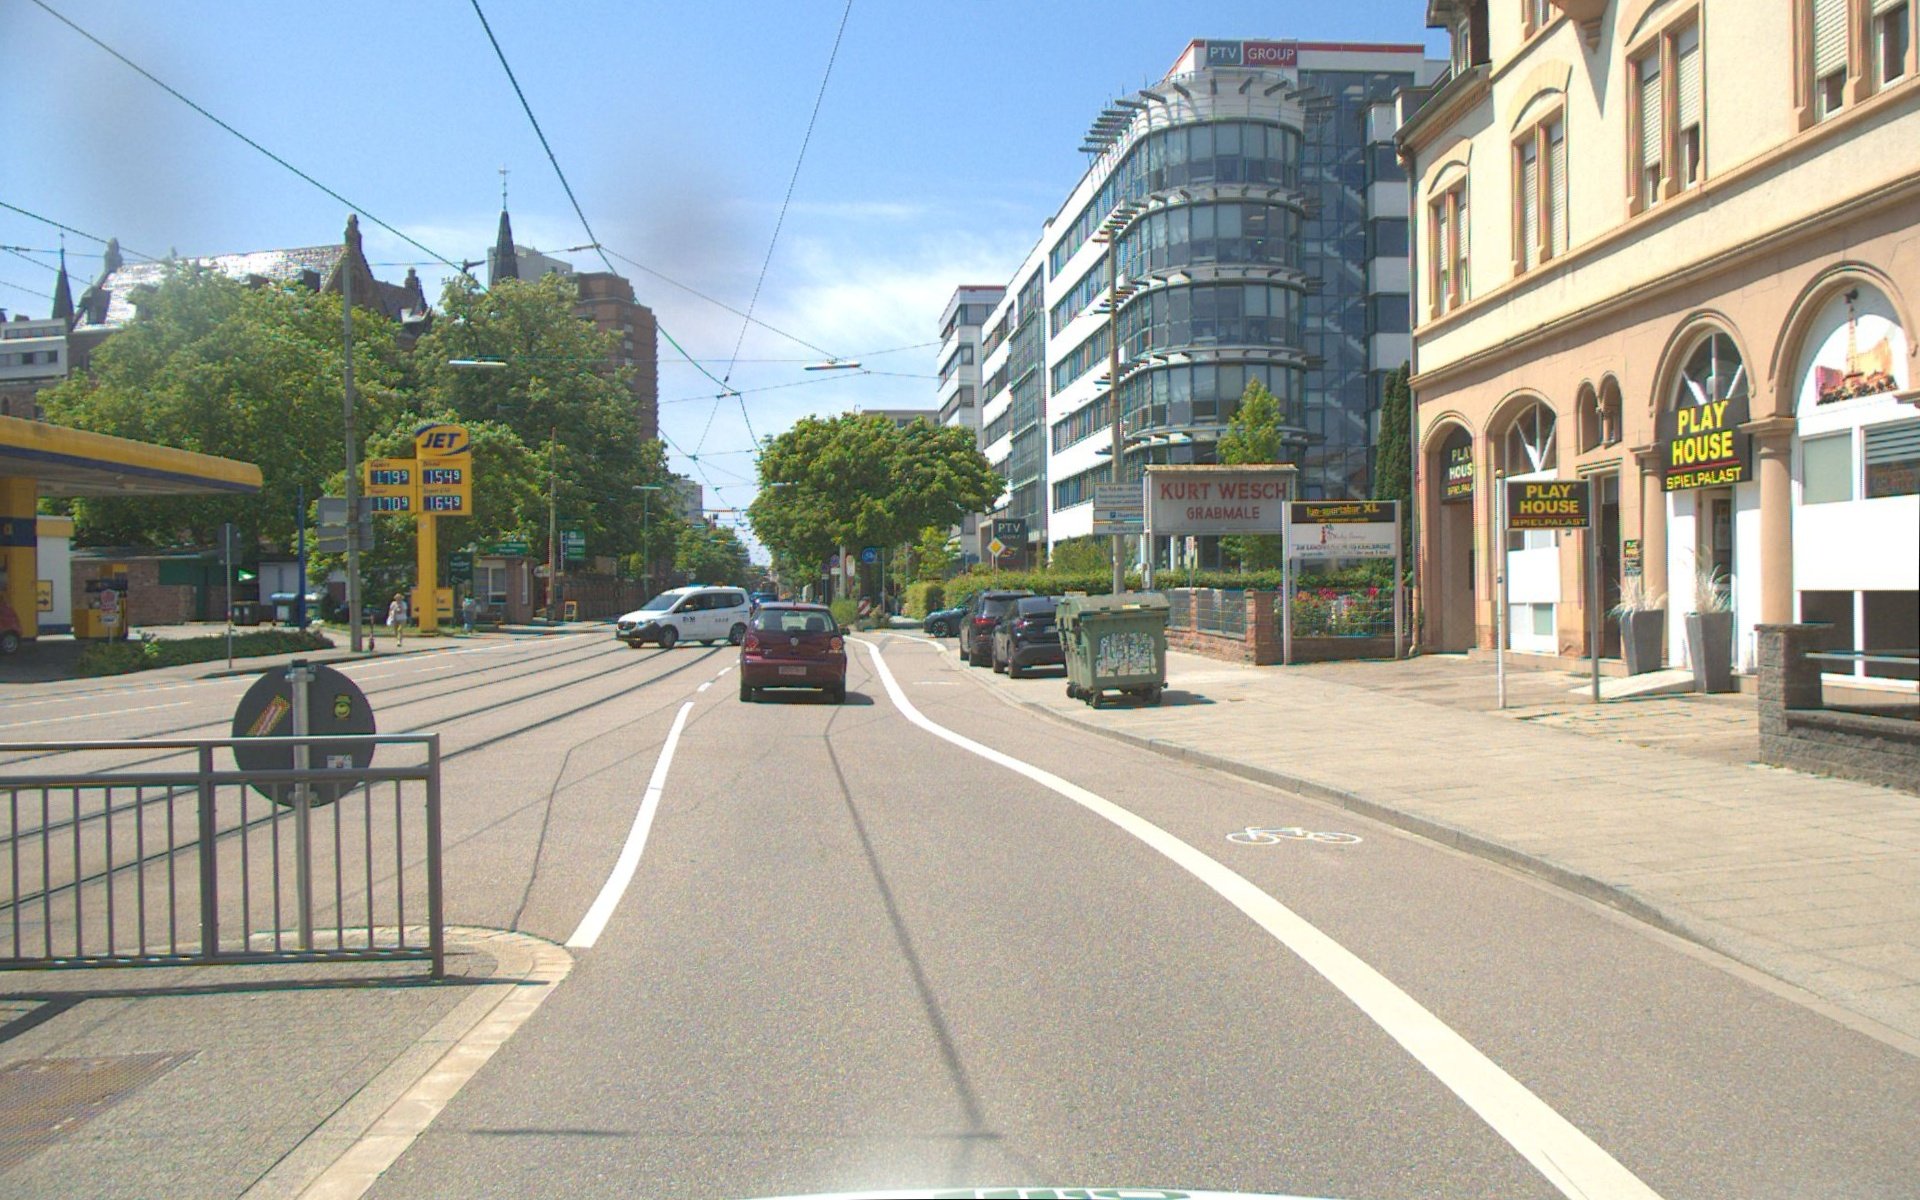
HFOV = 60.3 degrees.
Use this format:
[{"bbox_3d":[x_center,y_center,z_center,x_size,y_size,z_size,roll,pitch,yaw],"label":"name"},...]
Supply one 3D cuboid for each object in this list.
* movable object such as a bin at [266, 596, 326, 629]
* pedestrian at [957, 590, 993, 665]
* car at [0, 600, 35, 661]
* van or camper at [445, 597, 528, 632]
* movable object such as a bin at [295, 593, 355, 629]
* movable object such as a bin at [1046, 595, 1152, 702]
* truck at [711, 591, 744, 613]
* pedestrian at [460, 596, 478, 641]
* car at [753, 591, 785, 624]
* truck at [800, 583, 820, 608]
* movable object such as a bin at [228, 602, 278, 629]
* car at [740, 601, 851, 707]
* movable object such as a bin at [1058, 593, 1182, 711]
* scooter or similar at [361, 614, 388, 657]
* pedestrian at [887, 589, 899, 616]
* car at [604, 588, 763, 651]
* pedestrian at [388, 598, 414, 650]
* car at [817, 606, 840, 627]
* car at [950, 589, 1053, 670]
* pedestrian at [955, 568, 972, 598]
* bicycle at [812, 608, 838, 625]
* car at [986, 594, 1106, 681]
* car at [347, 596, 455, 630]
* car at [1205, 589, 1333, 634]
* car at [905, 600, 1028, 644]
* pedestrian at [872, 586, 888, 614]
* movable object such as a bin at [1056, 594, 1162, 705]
[{"bbox_3d":[-29.839,0.567,74.357,1.489,1.457,2.100,1,0,18],"label":"movable object such as a bin"},{"bbox_3d":[0.405,0.725,44.644,0.769,1.994,0.586,-1,0,-21],"label":"pedestrian"},{"bbox_3d":[-26.029,0.828,42.184,1.787,1.531,4.202,1,2,17],"label":"car"},{"bbox_3d":[-23.858,0.737,83.404,3.711,1.657,1.869,1,1,-6],"label":"van or camper"},{"bbox_3d":[-28.345,0.481,73.846,1.489,1.536,2.100,1,0,18],"label":"movable object such as a bin"},{"bbox_3d":[2.047,0.698,24.547,1.299,1.480,1.055,-3,0,-10],"label":"movable object such as a bin"},{"bbox_3d":[-31.275,0.256,222.373,2.319,2.836,7.326,-1,0,9],"label":"truck"},{"bbox_3d":[-19.721,0.728,66.442,0.569,1.807,0.698,1,0,-10],"label":"pedestrian"},{"bbox_3d":[-12.311,0.490,106.565,1.956,2.049,3.993,1,0,-8],"label":"car"},{"bbox_3d":[-16.213,-0.469,178.567,1.955,2.708,4.868,1,0,-6],"label":"truck"},{"bbox_3d":[-31.831,0.693,74.517,1.375,1.157,1.565,1,0,18],"label":"movable object such as a bin"},{"bbox_3d":[-2.626,0.788,25.991,1.588,1.512,3.994,1,0,-7],"label":"car"},{"bbox_3d":[2.152,0.685,22.365,1.366,1.480,1.137,-3,0,-10],"label":"movable object such as a bin"},{"bbox_3d":[-17.327,1.048,48.969,0.509,1.221,1.374,1,0,-9],"label":"scooter or similar"},{"bbox_3d":[-4.385,0.159,108.284,0.533,1.745,0.558,-2,-1,-35],"label":"pedestrian"},{"bbox_3d":[-8.432,0.558,50.668,4.517,1.831,1.968,-1,0,-44],"label":"car"},{"bbox_3d":[-18.520,0.786,54.806,0.612,1.720,0.722,-1,0,-3],"label":"pedestrian"},{"bbox_3d":[-10.283,1.303,129.525,1.656,1.529,3.622,-2,0,-6],"label":"car"},{"bbox_3d":[0.913,0.661,39.807,1.887,1.722,5.077,-2,0,-5],"label":"car"},{"bbox_3d":[0.229,-0.993,97.104,0.855,1.745,1.090,-2,-1,3],"label":"pedestrian"},{"bbox_3d":[-9.593,1.177,117.458,1.847,1.203,0.693,-1,-1,-7],"label":"bicycle"},{"bbox_3d":[1.669,0.732,33.689,1.738,1.575,4.462,-3,0,-6],"label":"car"},{"bbox_3d":[-25.266,0.580,74.869,1.895,1.514,4.438,1,0,33],"label":"car"},{"bbox_3d":[10.782,0.394,57.901,4.065,1.485,1.817,-1,0,-3],"label":"car"},{"bbox_3d":[0.238,0.745,56.234,3.832,1.396,1.704,-1,-1,18],"label":"car"},{"bbox_3d":[-5.208,-0.004,107.520,0.673,1.828,0.665,-2,0,-38],"label":"pedestrian"},{"bbox_3d":[2.101,0.682,23.472,1.224,1.480,1.055,-3,0,-10],"label":"movable object such as a bin"}]
